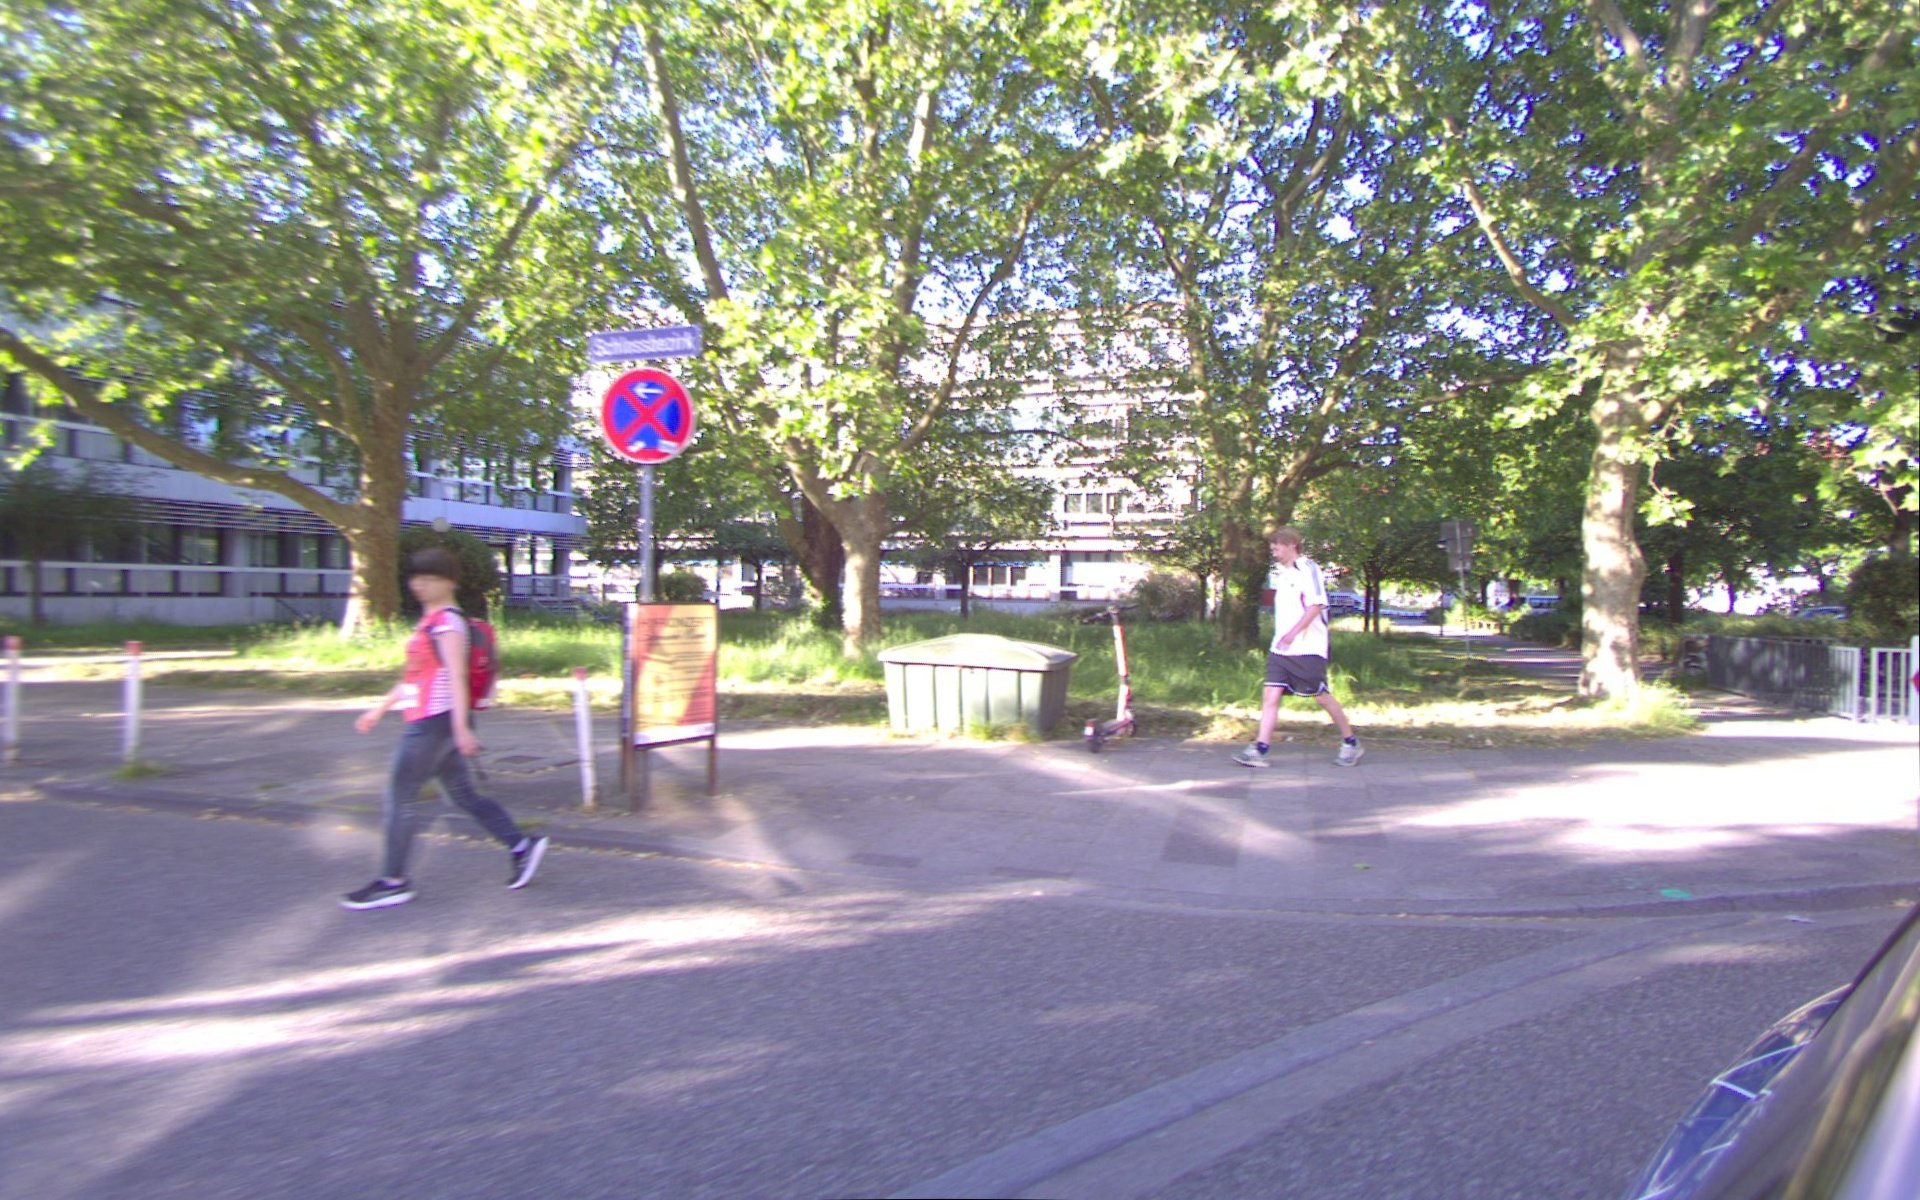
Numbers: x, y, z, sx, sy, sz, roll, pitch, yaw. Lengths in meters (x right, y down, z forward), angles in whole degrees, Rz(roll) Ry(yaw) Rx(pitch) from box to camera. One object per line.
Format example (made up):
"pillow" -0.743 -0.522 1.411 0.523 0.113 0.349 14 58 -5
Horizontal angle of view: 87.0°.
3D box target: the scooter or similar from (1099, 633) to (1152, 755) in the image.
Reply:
"scooter or similar" 1.461 0.784 8.836 0.413 0.925 1.147 0 2 11

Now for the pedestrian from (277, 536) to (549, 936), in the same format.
"pedestrian" -2.429 0.557 4.602 0.919 1.644 0.712 0 0 -12

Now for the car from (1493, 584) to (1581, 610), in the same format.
"car" 37.405 -0.197 65.709 4.599 1.494 2.001 2 -1 20

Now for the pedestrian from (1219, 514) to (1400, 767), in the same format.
"pedestrian" 2.663 0.297 7.812 1.112 1.836 0.747 1 -1 0
